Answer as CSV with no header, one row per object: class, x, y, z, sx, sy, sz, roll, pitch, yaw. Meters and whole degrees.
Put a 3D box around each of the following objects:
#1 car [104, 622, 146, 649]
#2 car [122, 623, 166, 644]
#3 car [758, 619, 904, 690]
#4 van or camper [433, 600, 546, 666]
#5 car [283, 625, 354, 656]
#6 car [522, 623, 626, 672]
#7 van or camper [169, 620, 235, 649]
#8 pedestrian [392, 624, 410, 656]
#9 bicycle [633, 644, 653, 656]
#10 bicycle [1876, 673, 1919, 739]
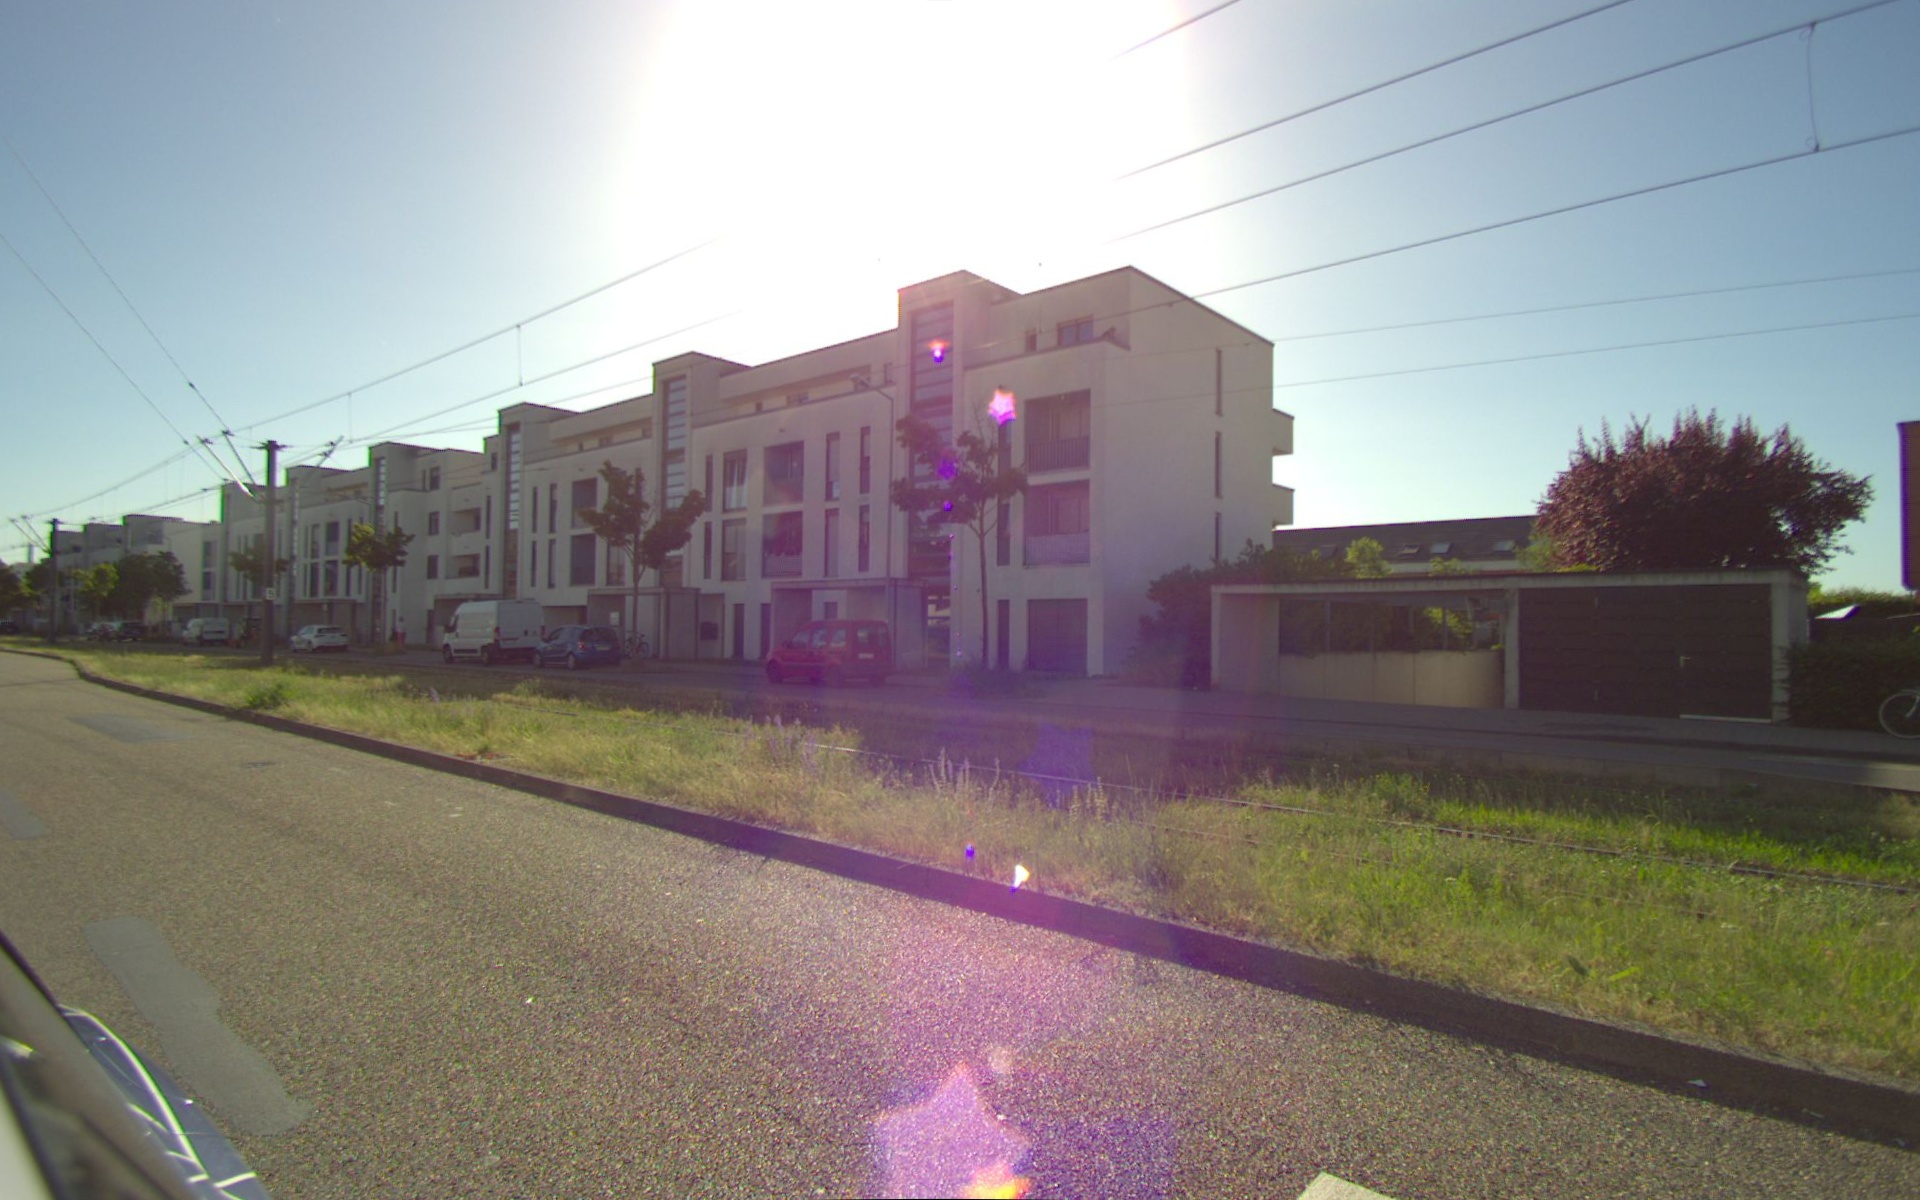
car,-65.520,2.775,79.353,3.995,2.029,1.765,-1,0,39
car,-60.145,2.445,74.554,3.493,1.449,1.844,0,0,39
car,-3.487,1.411,26.969,3.908,1.736,1.769,-1,-4,43
van or camper,-18.867,1.318,40.490,5.258,2.484,2.168,-1,-3,42
car,-34.298,2.160,54.073,4.117,1.598,2.021,-1,-3,39
car,-13.768,1.664,36.048,3.835,1.625,1.909,-1,-3,42
van or camper,-50.830,2.297,67.822,6.282,1.862,2.243,-1,-2,41
pedestrian,-29.119,2.068,52.752,0.611,1.656,0.612,-1,-1,35
bicycle,-14.135,2.237,45.086,1.060,0.502,0.349,-2,-3,41
bicycle,14.506,1.519,14.111,2.479,0.899,0.891,-1,-3,37
